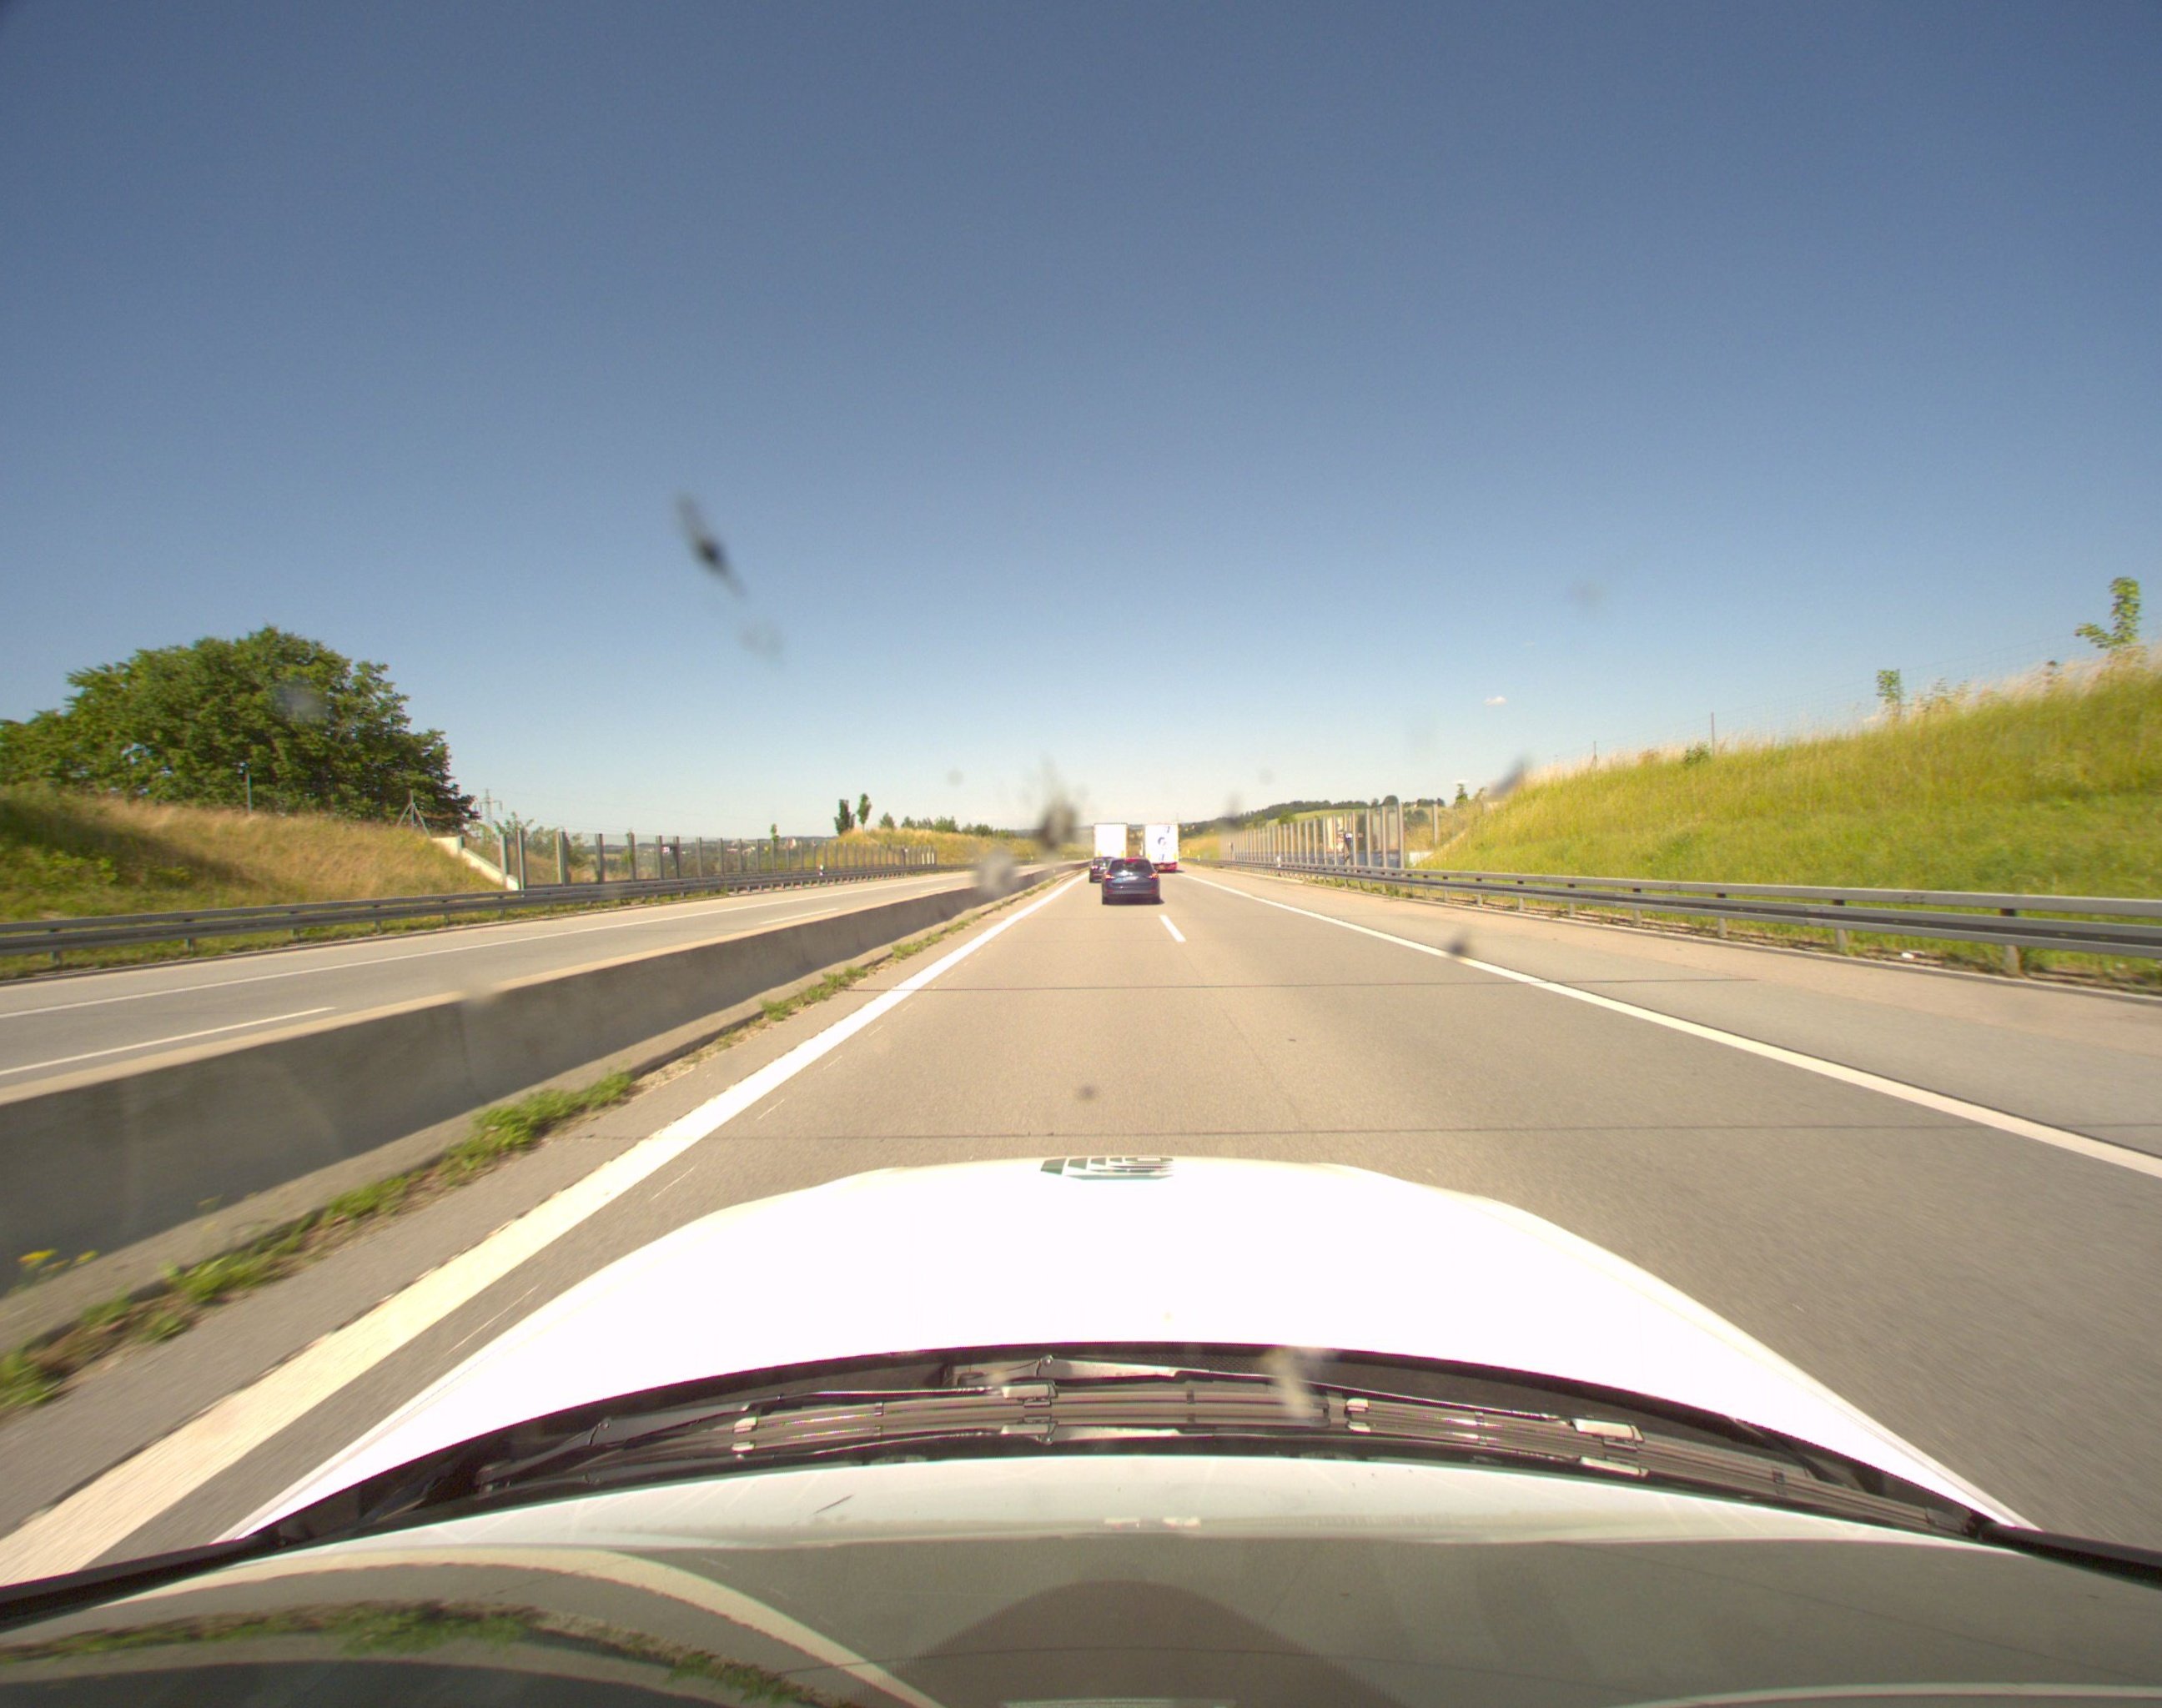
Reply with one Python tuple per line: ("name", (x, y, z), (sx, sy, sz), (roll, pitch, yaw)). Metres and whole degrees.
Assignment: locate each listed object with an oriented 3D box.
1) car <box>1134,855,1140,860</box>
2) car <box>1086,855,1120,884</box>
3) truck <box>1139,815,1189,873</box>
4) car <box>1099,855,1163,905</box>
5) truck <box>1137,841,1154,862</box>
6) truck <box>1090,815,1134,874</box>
("car", (15.756, 0.983, 229.931), (1.693, 1.441, 4.002), (-1, 0, 2))
("car", (1.200, 0.811, 45.287), (1.695, 1.441, 3.999), (-3, 0, 0))
("truck", (6.966, -0.791, 69.916), (3.589, 4.381, 11.243), (-3, 0, 3))
("car", (1.520, 0.773, 25.929), (1.771, 1.441, 3.788), (-1, 0, 0))
("truck", (14.686, -0.635, 186.384), (3.589, 4.381, 11.243), (-3, 0, 3))
("truck", (2.776, -0.759, 69.204), (3.197, 4.381, 11.244), (-3, 0, 4))
